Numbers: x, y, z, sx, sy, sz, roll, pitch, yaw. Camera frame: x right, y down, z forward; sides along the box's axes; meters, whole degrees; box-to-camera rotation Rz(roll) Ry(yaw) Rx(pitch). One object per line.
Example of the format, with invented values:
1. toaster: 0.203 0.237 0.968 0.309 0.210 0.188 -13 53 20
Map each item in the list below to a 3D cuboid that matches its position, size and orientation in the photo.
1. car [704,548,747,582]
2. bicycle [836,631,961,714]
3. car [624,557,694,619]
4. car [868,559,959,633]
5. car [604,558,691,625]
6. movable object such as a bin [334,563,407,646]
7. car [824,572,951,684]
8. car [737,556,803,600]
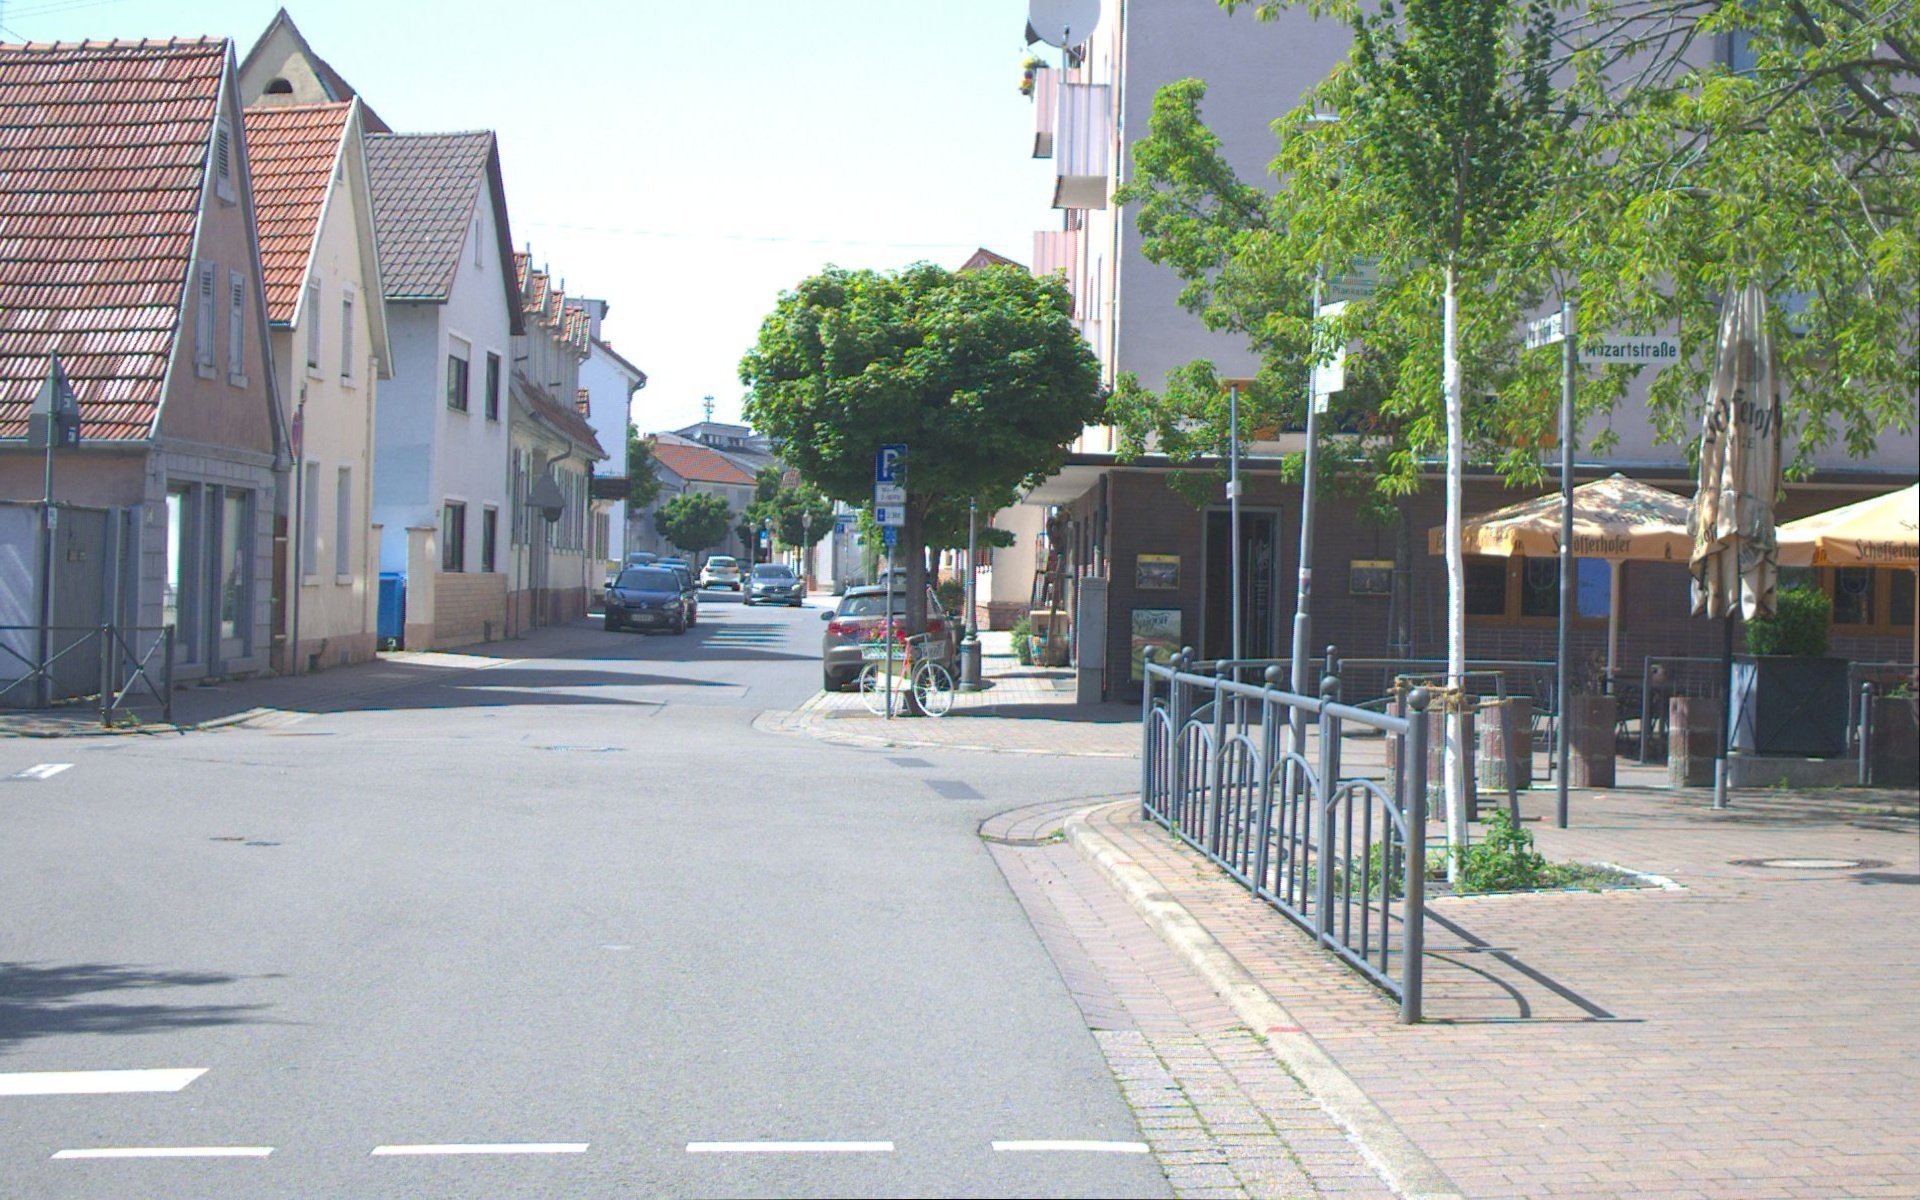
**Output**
1. car: -11.287 -1.700 165.918 2.027 1.592 4.509 1 1 -4
2. bicycle: -0.692 0.803 38.569 1.412 0.894 0.464 0 1 36
3. car: -7.393 -0.310 84.743 1.663 1.471 3.451 1 1 -4
4. car: -1.088 -0.114 81.057 2.043 1.683 4.842 1 1 -1
5. car: -7.086 -0.208 78.190 1.663 1.471 4.135 1 1 -1
6. movable object such as a bin: -9.731 0.070 56.770 1.102 1.361 0.390 1 0 3
7. car: -0.961 0.360 47.190 1.576 1.449 3.486 1 0 1
8. car: -6.654 -0.759 120.182 1.909 1.476 4.845 1 0 -7
